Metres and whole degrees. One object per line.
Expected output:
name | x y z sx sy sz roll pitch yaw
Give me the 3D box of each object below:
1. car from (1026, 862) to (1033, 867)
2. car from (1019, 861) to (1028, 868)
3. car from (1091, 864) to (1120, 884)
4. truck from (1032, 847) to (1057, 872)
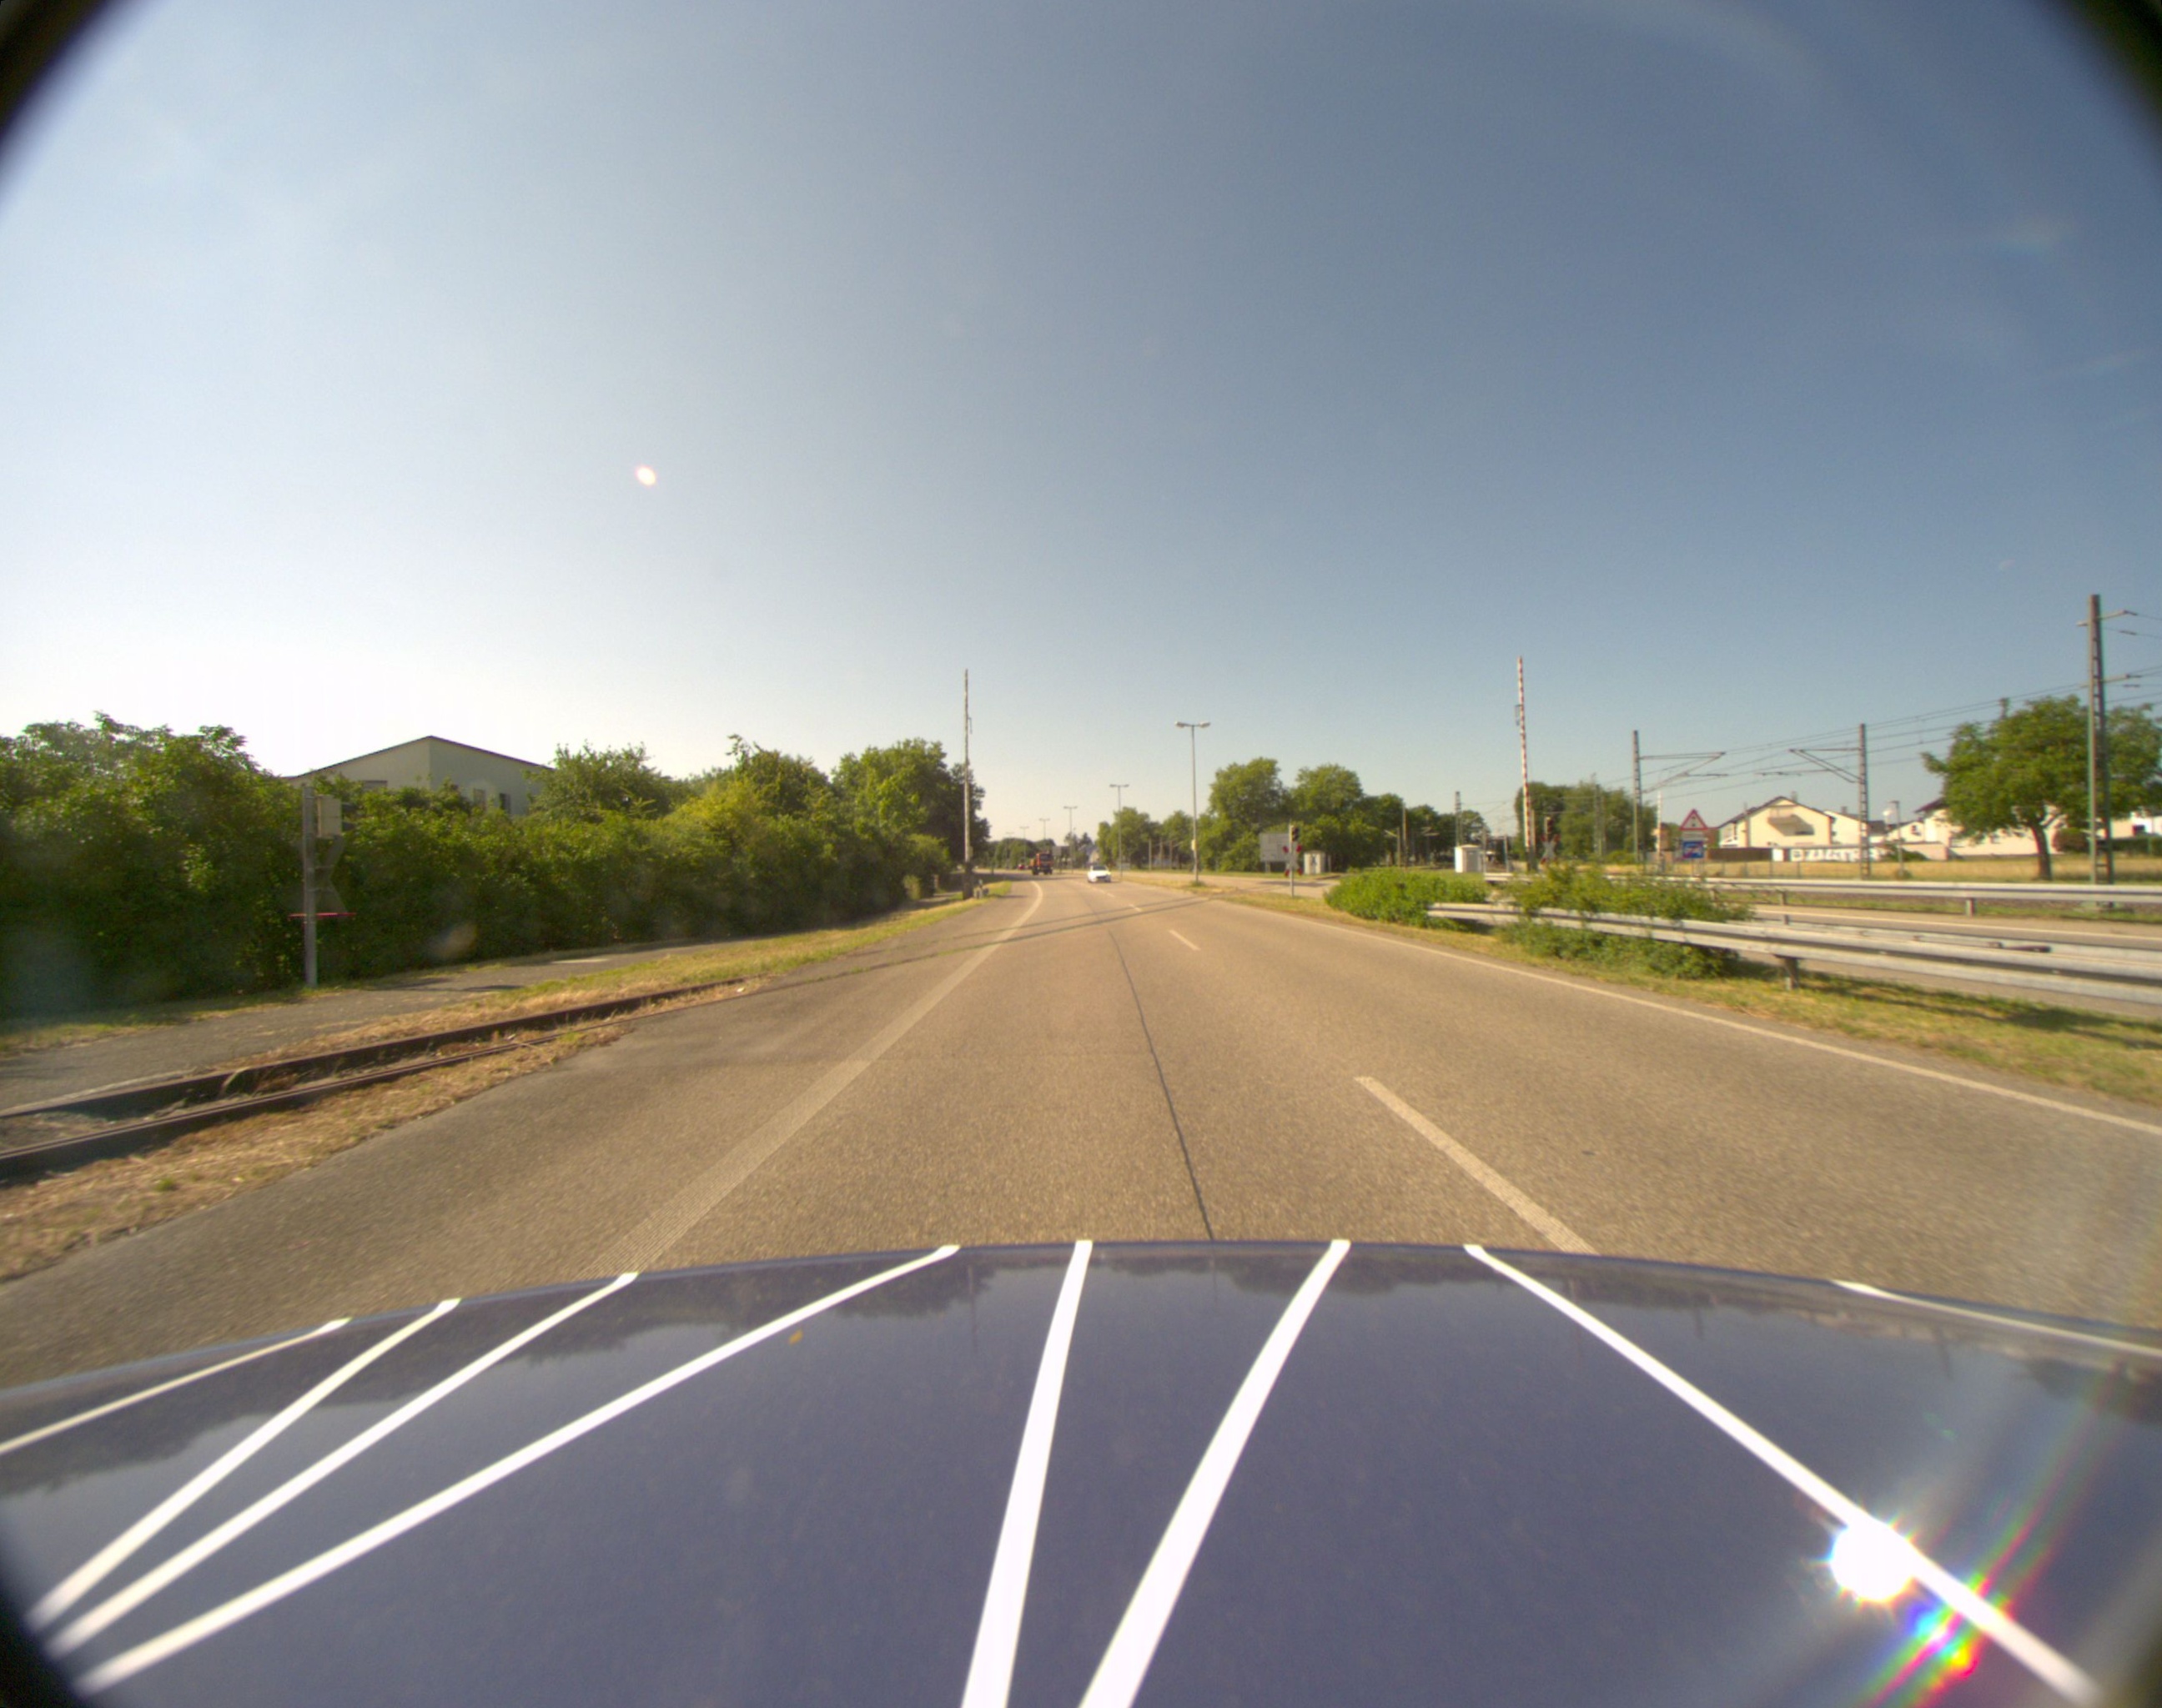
car | -16.224 3.302 238.487 1.837 1.456 4.466 -1 0 -9
car | -15.236 2.707 200.714 1.988 1.740 4.503 -1 0 -11
car | 2.020 1.658 63.844 1.870 1.499 4.335 -1 0 -5
truck | -5.750 0.838 119.905 2.943 3.852 6.585 -1 0 -11
